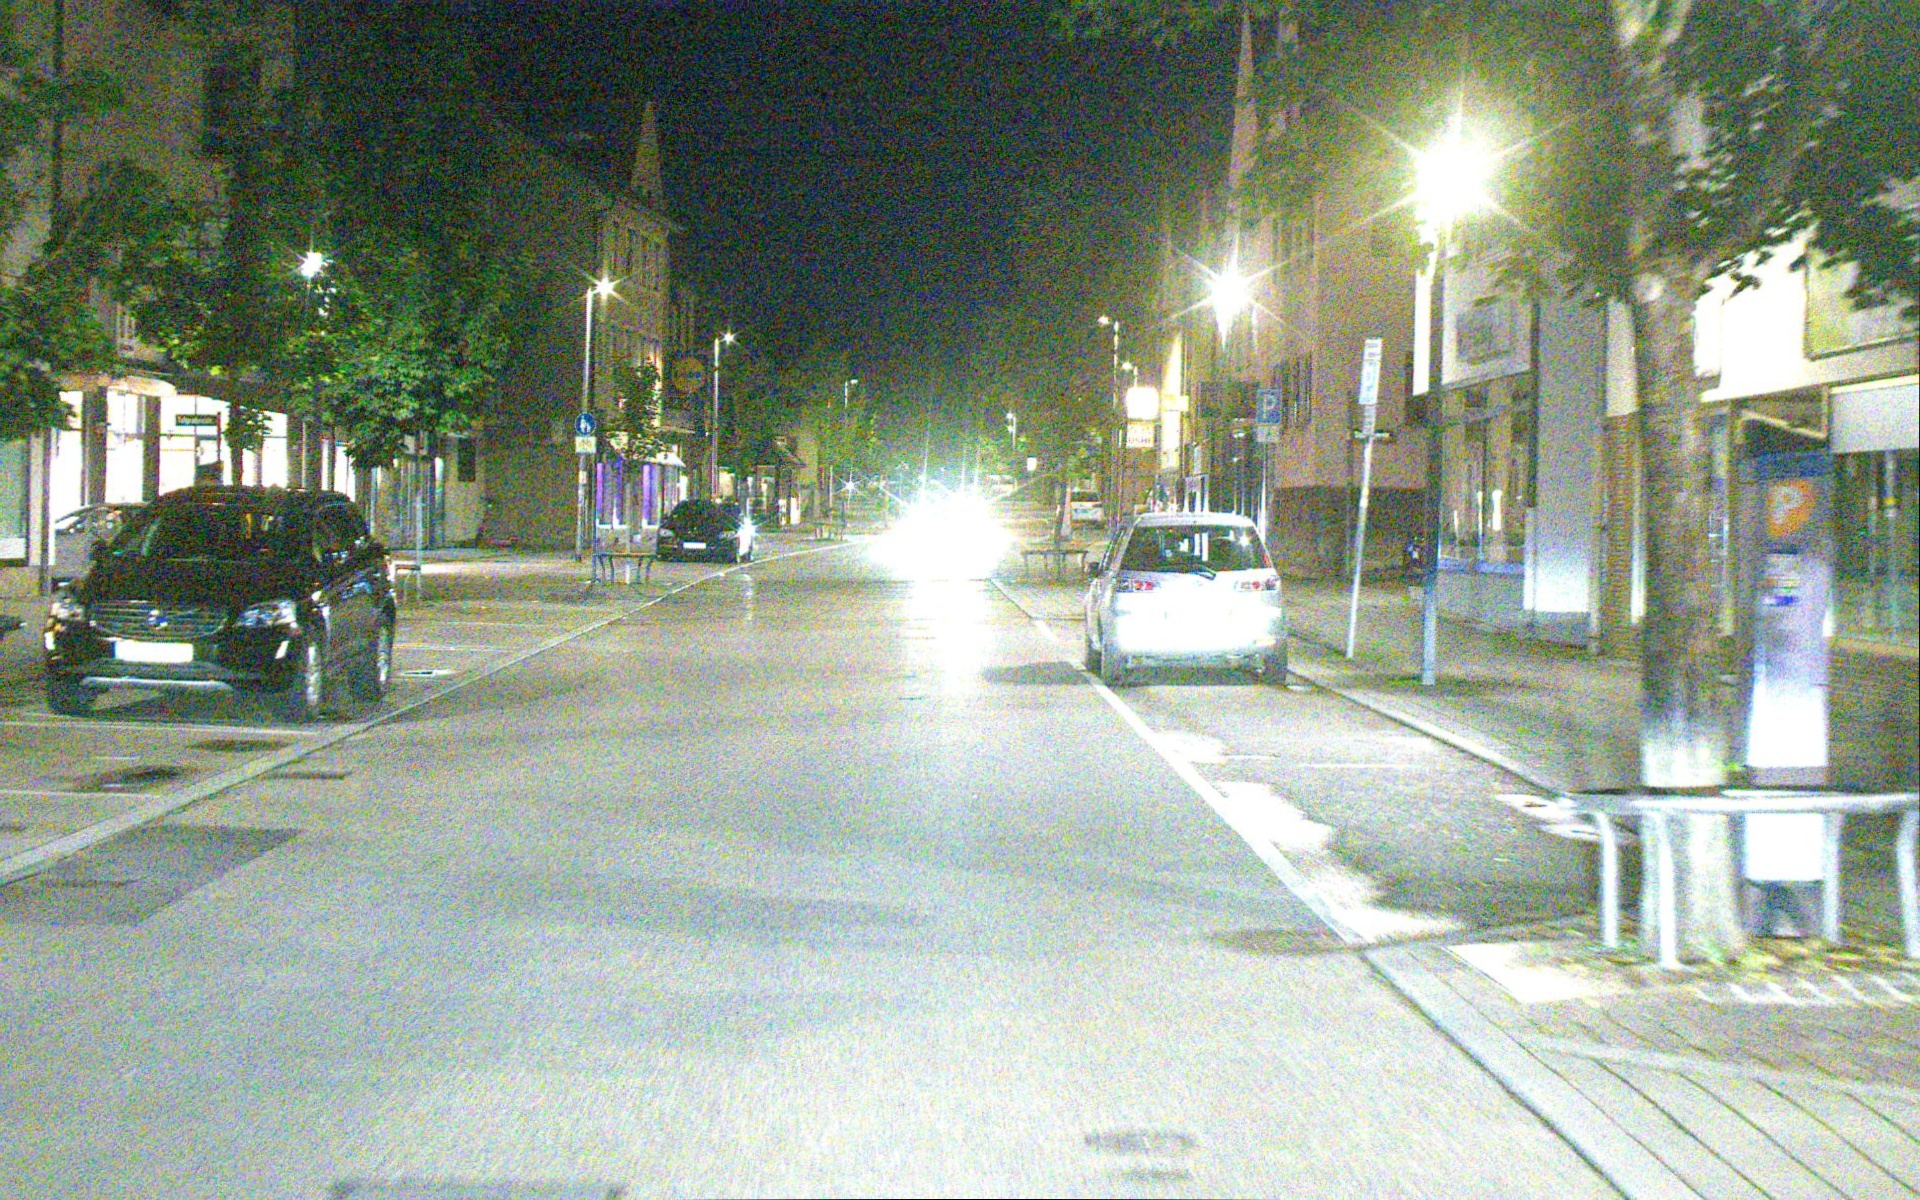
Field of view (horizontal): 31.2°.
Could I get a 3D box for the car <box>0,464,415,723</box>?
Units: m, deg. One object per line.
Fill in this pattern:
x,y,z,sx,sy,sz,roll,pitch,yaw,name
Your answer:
-5.567,-0.108,25.985,2.018,1.685,5.003,2,1,0,car

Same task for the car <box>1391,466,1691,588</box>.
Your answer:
8.676,-1.112,51.540,4.076,1.576,1.817,-3,3,-3,car

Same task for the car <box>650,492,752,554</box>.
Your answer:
-5.974,-1.806,79.862,1.914,1.366,4.457,1,2,1,car

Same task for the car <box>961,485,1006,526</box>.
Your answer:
1.008,-3.956,143.279,1.775,1.646,4.364,1,2,1,car

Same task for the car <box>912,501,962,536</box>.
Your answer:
-0.821,-2.981,126.134,1.723,1.242,4.237,1,2,1,car

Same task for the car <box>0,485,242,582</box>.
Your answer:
-14.051,-1.073,56.166,4.167,1.433,1.841,-2,1,3,car

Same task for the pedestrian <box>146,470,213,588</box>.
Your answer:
-11.144,-1.020,49.118,0.769,1.650,0.817,1,3,1,pedestrian

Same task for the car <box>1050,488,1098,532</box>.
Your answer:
4.405,-3.495,133.445,1.775,1.646,4.364,1,2,1,car

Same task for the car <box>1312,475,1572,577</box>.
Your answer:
7.993,-1.229,57.239,3.986,1.471,1.752,-3,1,-2,car

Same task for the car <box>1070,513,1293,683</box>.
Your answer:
1.979,-0.058,31.588,1.674,1.454,3.676,1,1,-2,car
